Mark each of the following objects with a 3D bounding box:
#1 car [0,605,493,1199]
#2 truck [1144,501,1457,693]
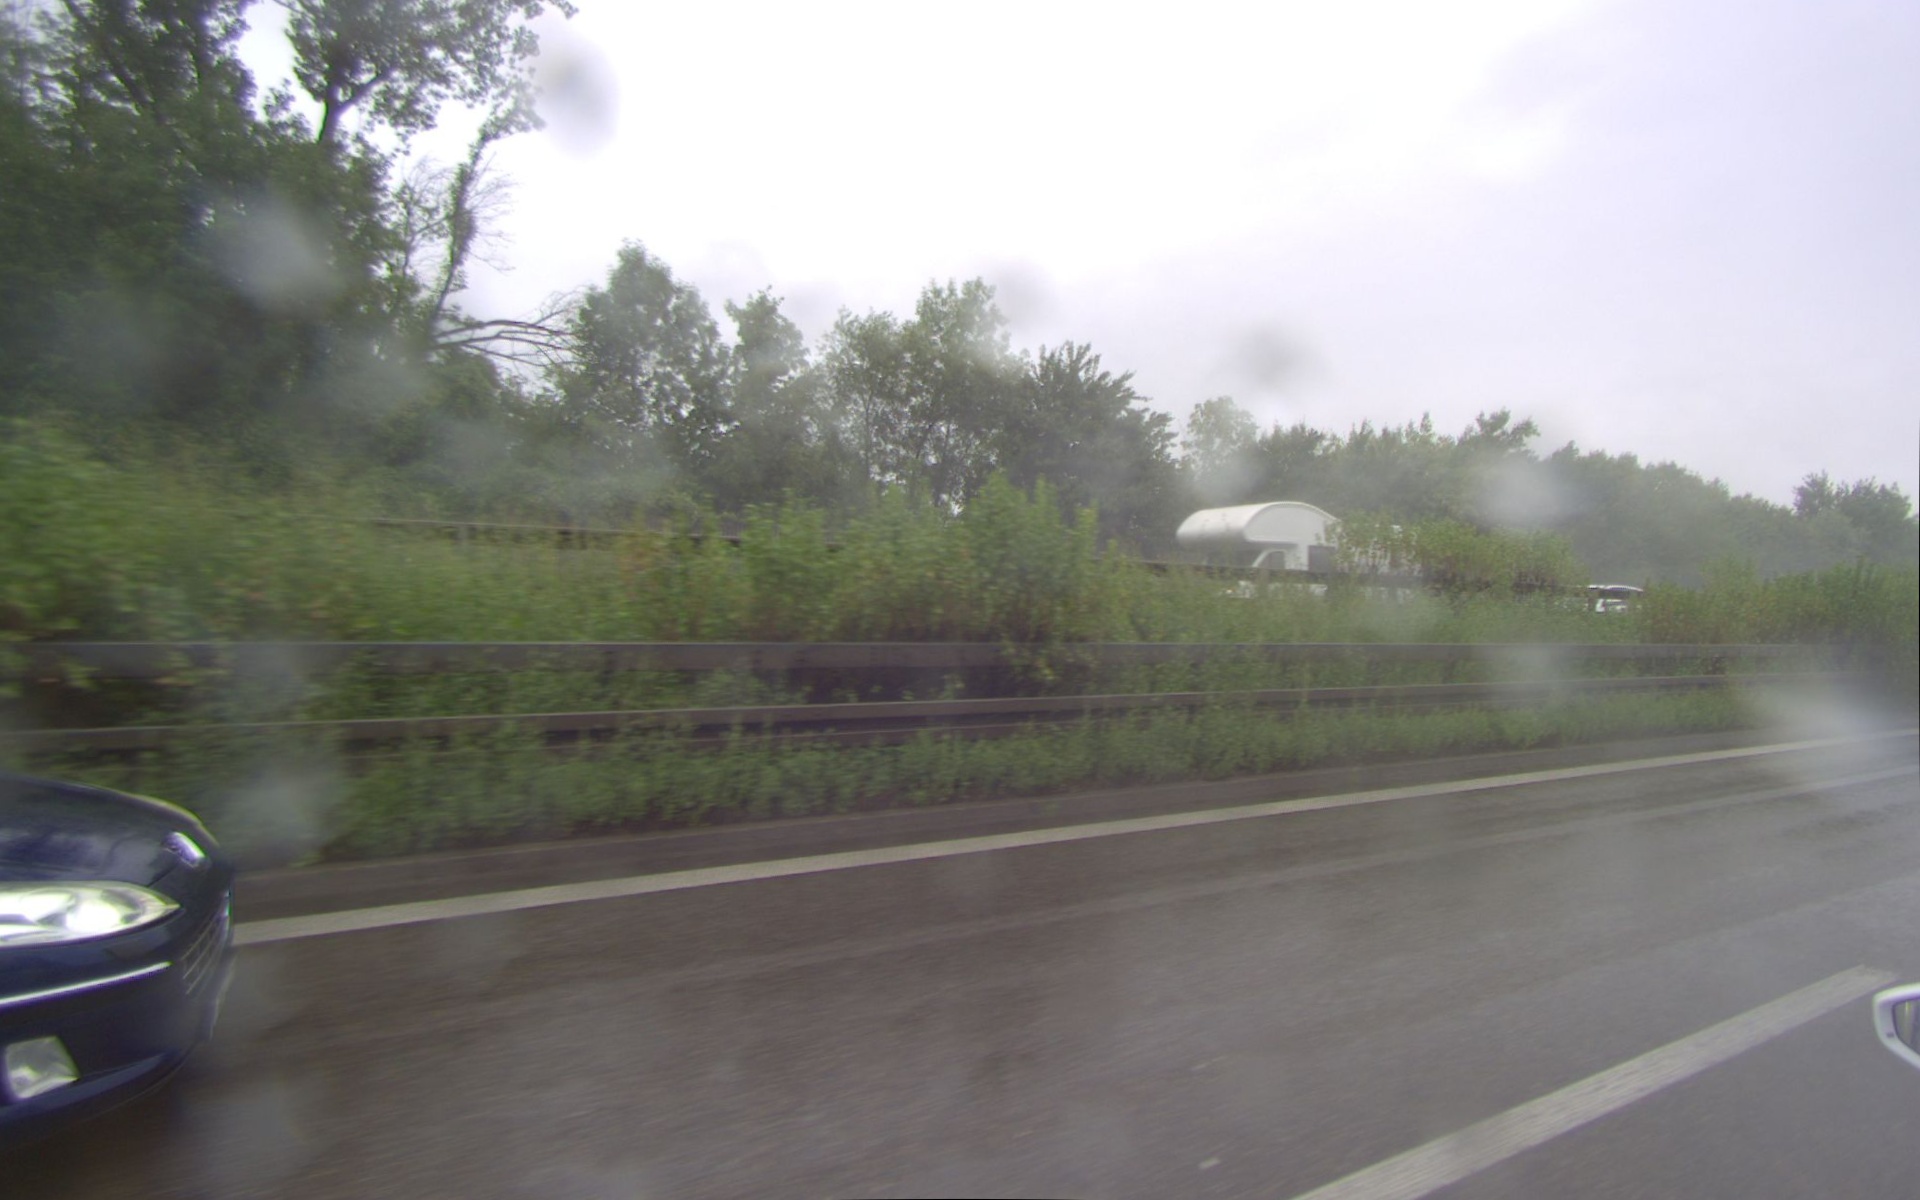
[{"bbox_3d":[-3.871,0.747,2.082,5.097,1.505,2.044,2,0,-30],"label":"car"},{"bbox_3d":[8.457,0.014,24.646,7.617,4.071,3.020,1,0,-31],"label":"truck"}]
